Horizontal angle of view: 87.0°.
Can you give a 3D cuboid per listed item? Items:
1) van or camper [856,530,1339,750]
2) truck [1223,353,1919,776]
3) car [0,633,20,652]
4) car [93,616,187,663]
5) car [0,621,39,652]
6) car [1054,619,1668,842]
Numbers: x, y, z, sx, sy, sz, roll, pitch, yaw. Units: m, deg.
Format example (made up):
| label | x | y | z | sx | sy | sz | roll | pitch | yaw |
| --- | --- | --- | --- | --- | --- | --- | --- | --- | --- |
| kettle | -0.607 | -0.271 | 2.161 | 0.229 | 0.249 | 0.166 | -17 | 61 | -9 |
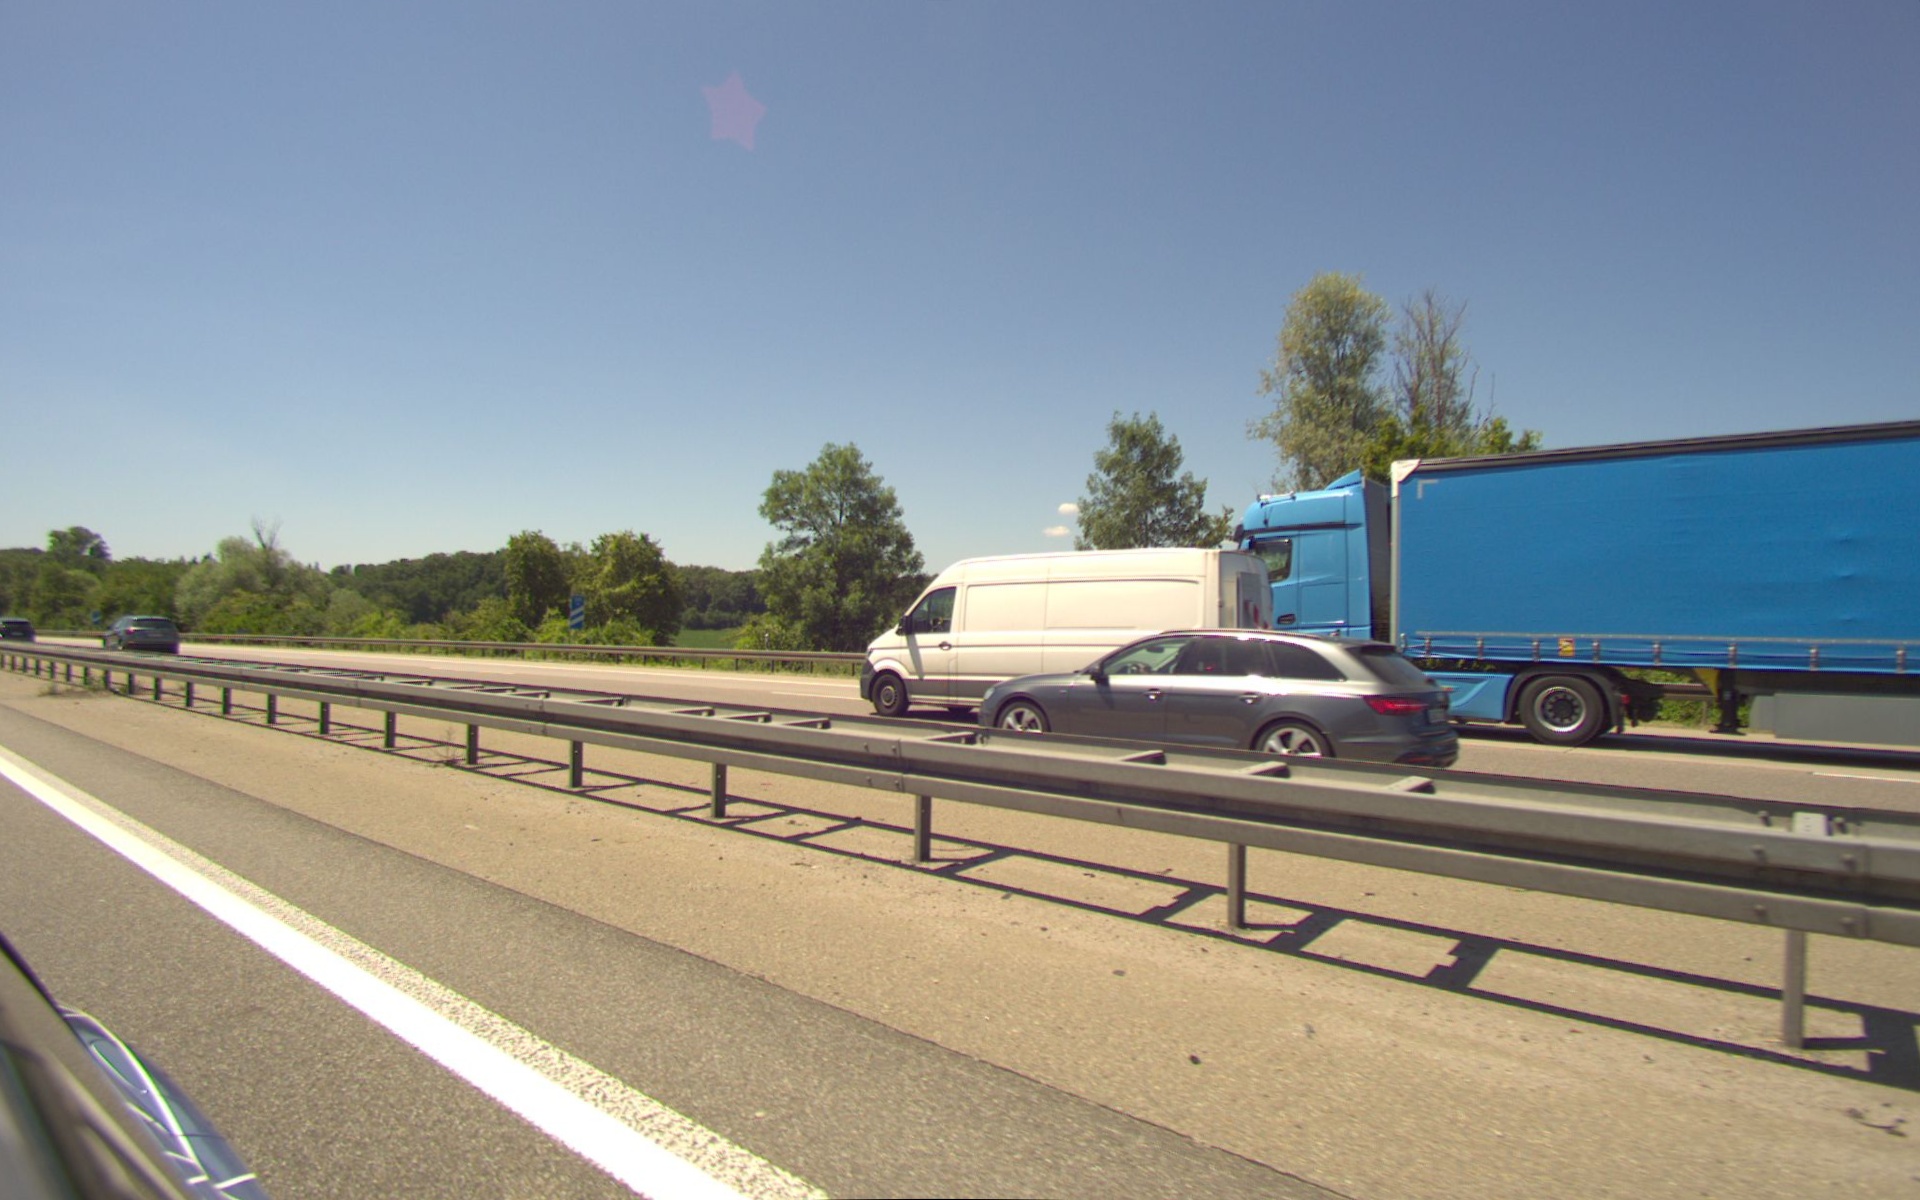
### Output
| label | x | y | z | sx | sy | sz | roll | pitch | yaw |
| --- | --- | --- | --- | --- | --- | --- | --- | --- | --- |
| van or camper | 1.696 | 0.563 | 14.894 | 7.027 | 2.585 | 1.974 | -1 | -4 | 39 |
| truck | 11.837 | -0.331 | 12.544 | 16.843 | 4.756 | 3.193 | -1 | -4 | 40 |
| car | -103.354 | 4.549 | 109.249 | 4.576 | 1.886 | 1.974 | -1 | -5 | 39 |
| car | -31.743 | 1.522 | 39.127 | 4.404 | 1.703 | 1.973 | -1 | -3 | 40 |
| car | -54.605 | 2.071 | 58.079 | 4.404 | 1.703 | 1.973 | -1 | -2 | 40 |
| car | 3.367 | 0.927 | 9.110 | 4.783 | 1.495 | 1.973 | -1 | -2 | 40 |
